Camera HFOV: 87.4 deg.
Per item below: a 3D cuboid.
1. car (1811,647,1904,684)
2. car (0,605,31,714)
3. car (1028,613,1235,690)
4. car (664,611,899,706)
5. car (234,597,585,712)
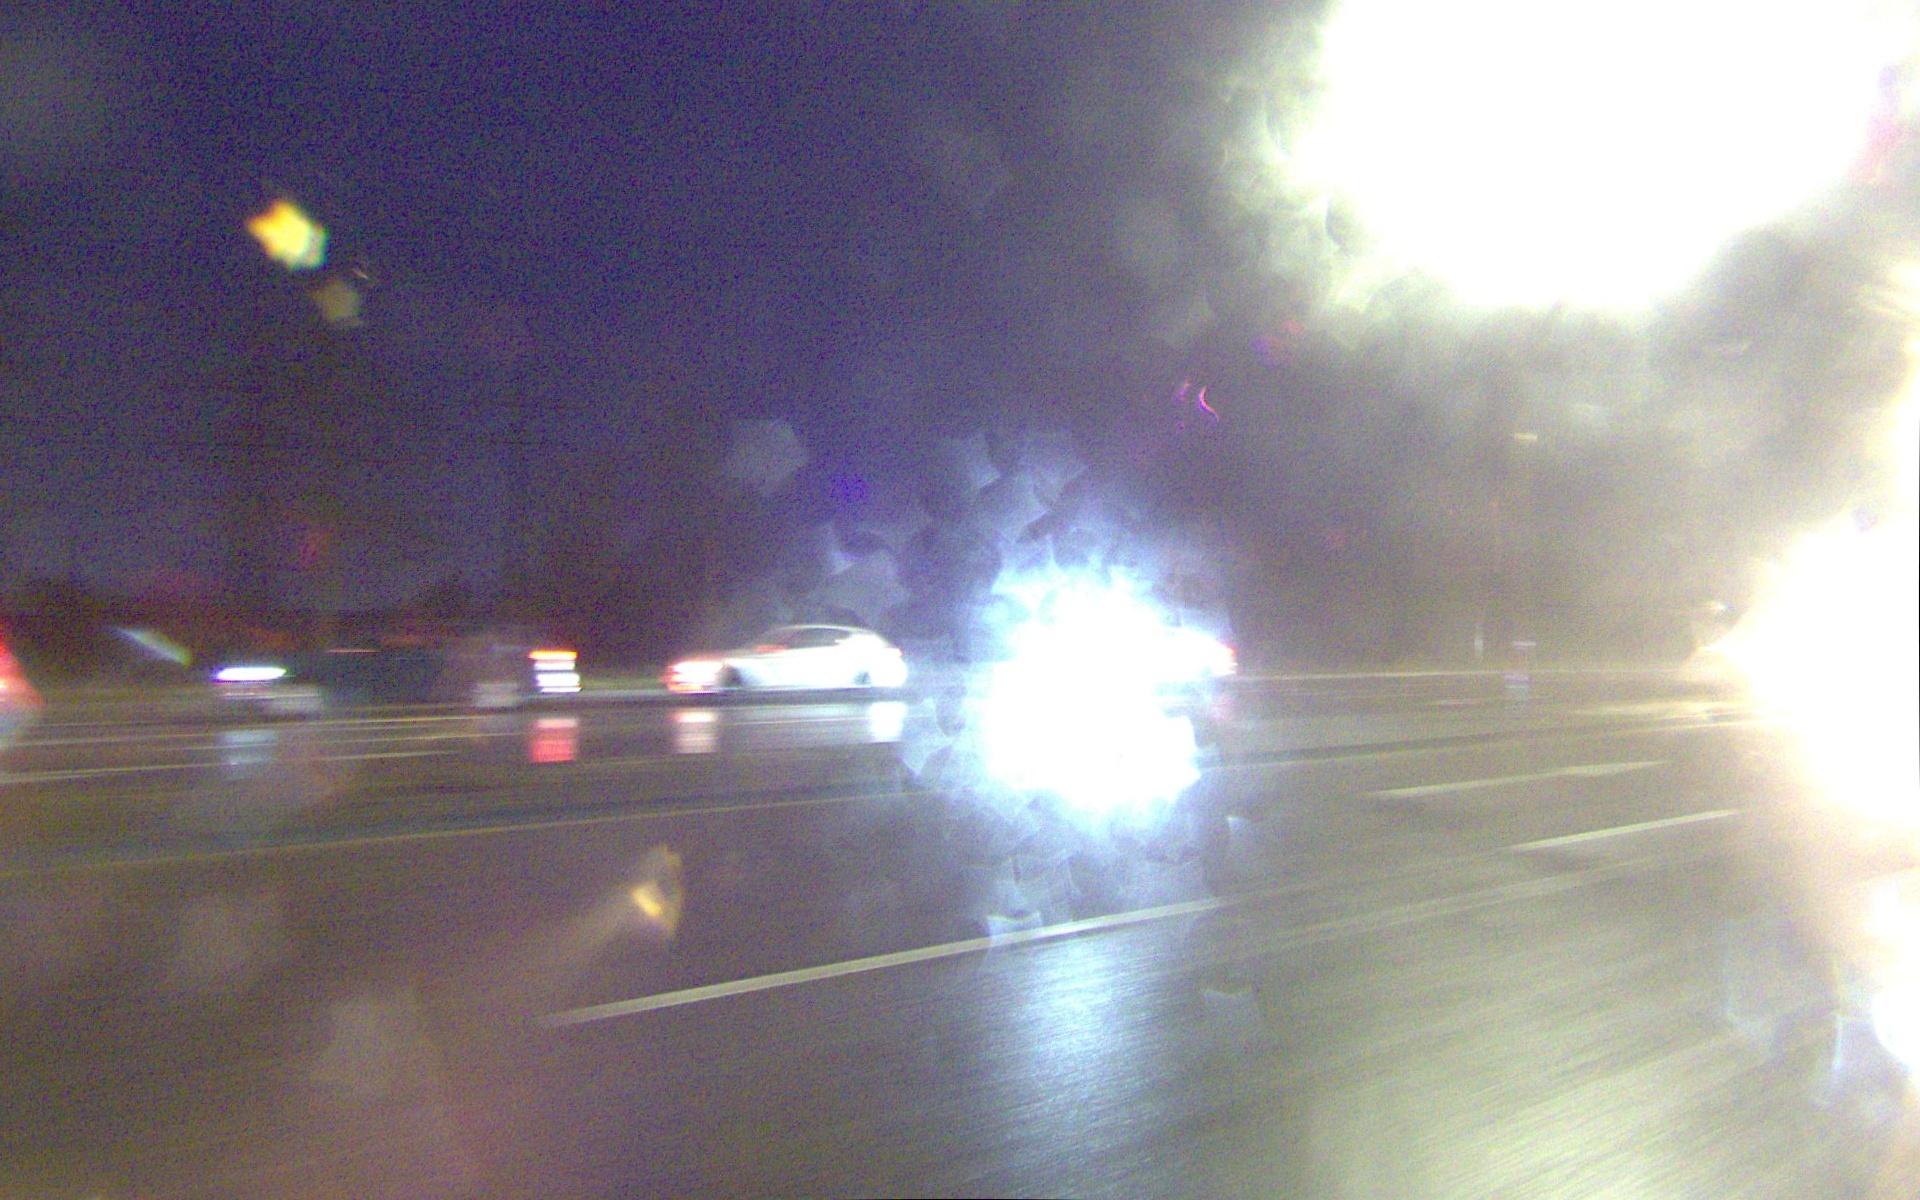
[{"bbox_3d":[33.081,2.393,37.015,3.574,1.219,1.635,1,-1,-32],"label":"car"},{"bbox_3d":[-14.214,0.678,12.163,3.994,1.395,1.751,3,-2,-31],"label":"car"},{"bbox_3d":[3.847,1.098,22.360,4.380,1.551,1.874,1,-1,-30],"label":"car"},{"bbox_3d":[-3.310,1.070,18.896,4.097,1.623,1.486,1,-2,-30],"label":"car"},{"bbox_3d":[-8.390,0.907,15.645,4.482,1.558,1.843,3,-5,-31],"label":"car"}]
